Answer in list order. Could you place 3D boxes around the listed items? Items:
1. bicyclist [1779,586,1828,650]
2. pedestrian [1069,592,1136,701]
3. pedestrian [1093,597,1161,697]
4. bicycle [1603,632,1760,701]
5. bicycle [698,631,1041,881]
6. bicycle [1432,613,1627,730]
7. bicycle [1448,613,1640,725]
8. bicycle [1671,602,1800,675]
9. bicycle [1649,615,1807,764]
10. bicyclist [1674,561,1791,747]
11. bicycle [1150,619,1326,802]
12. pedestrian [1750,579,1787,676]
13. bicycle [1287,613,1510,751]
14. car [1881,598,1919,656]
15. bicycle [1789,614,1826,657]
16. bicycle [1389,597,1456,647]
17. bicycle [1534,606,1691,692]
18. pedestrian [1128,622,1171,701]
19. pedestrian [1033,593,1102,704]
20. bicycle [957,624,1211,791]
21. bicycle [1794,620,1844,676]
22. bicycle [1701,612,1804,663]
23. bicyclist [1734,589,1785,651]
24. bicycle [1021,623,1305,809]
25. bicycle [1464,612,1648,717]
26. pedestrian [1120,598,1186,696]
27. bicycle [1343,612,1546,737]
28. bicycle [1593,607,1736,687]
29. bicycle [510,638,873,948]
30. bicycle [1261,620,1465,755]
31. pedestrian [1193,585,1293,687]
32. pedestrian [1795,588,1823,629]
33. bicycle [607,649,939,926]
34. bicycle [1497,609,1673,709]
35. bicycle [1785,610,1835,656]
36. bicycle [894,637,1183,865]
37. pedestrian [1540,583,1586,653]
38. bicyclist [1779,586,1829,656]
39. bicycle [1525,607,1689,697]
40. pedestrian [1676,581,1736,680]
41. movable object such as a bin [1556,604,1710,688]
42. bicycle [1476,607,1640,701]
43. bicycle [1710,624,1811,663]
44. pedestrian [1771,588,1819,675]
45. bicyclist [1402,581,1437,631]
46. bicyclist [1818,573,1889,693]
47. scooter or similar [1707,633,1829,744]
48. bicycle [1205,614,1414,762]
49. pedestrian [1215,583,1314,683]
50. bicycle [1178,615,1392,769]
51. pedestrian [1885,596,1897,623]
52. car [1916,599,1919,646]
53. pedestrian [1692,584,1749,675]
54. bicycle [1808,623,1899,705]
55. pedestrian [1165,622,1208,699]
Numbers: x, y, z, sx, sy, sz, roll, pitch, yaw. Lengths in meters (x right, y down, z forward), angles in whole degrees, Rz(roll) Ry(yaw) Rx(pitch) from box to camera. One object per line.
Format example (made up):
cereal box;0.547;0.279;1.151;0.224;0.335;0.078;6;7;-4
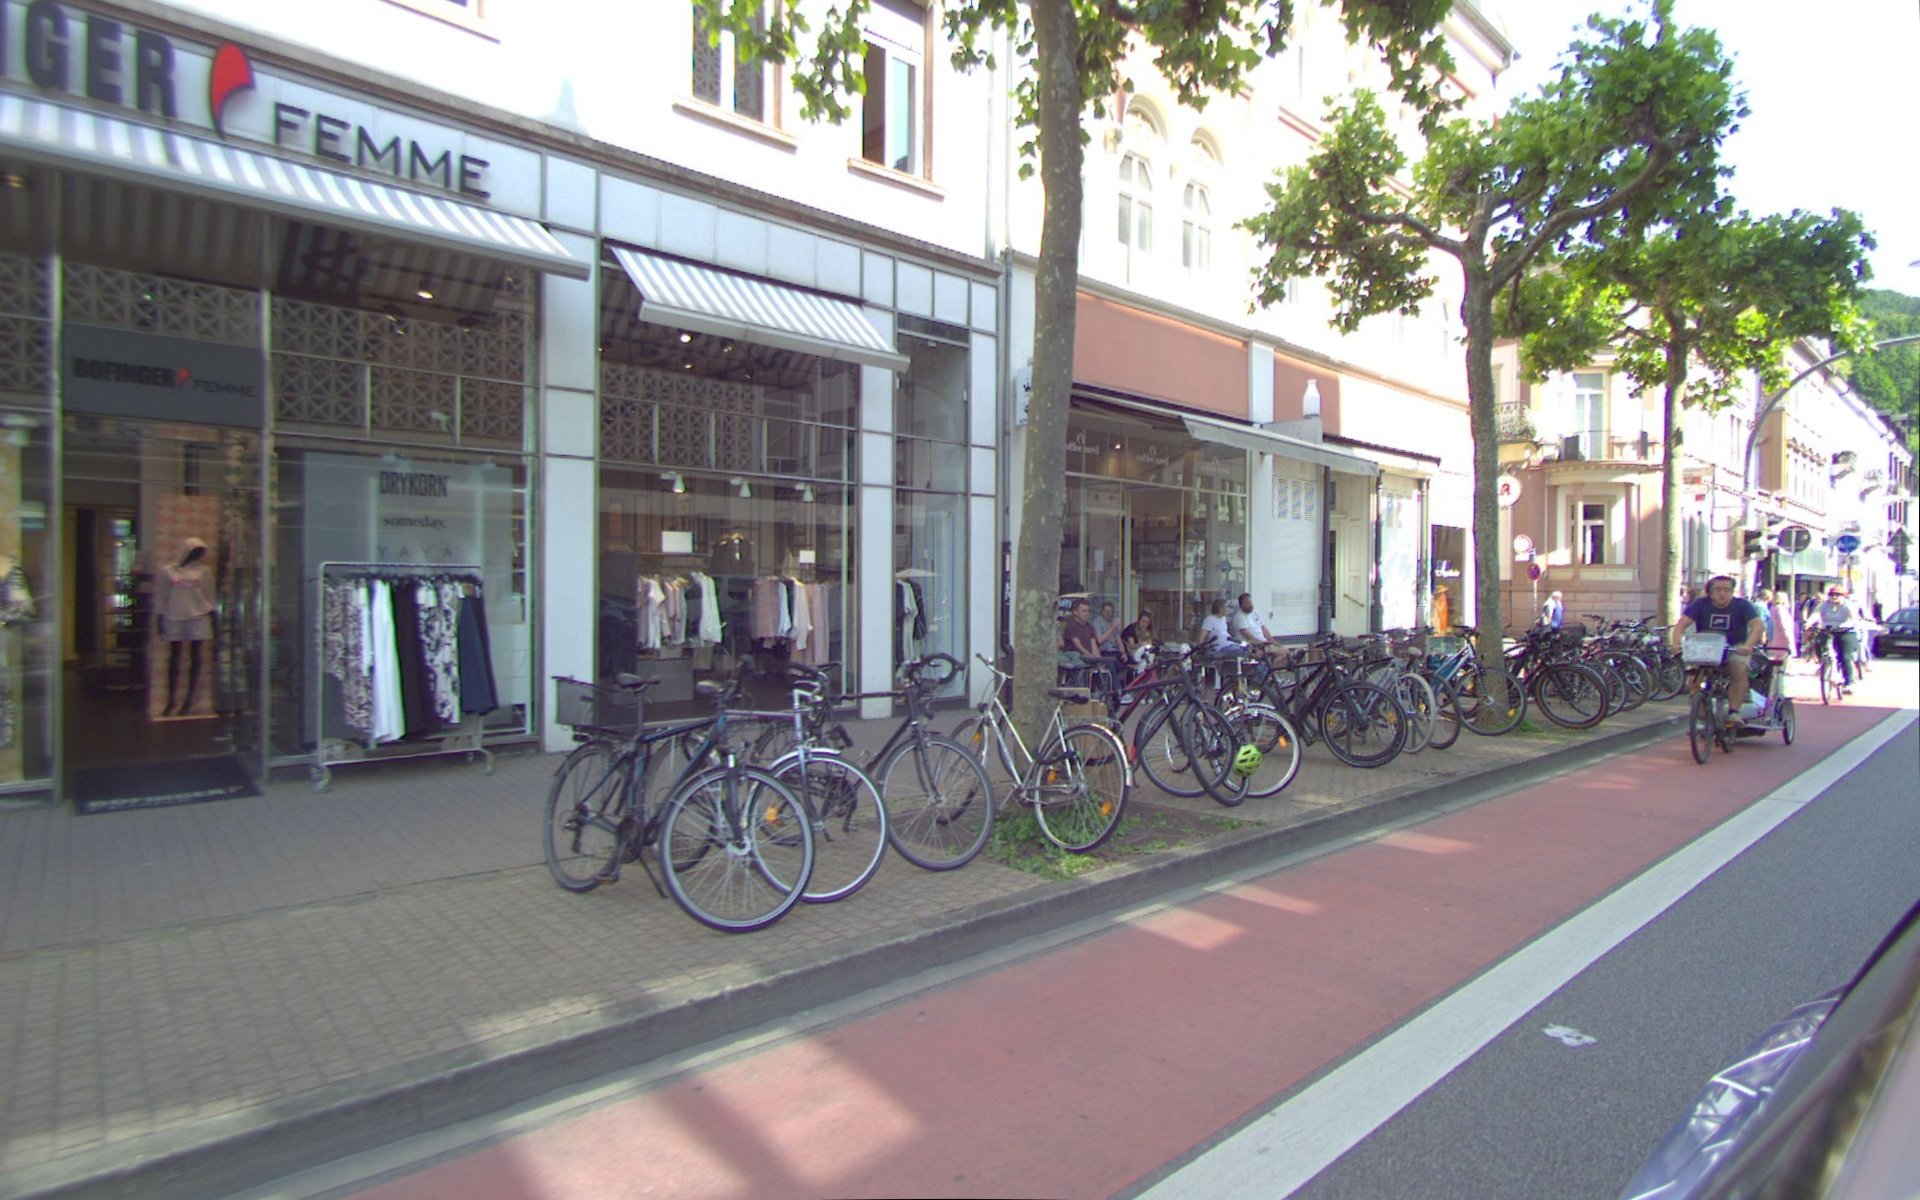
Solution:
bicyclist;23.756;0.497;28.501;0.830;1.738;0.909;0;1;-41
pedestrian;1.840;0.583;13.073;0.523;1.355;0.681;1;0;-44
pedestrian;2.218;0.607;13.453;0.523;1.269;0.682;1;1;-44
bicycle;11.367;1.064;15.988;1.854;0.395;1.018;-12;27;52
bicycle;-0.542;0.774;5.634;1.834;1.141;0.756;-2;0;36
bicycle;6.308;0.749;11.306;0.520;1.141;1.844;-1;2;-39
bicycle;6.771;0.759;11.816;0.655;1.141;1.844;-1;1;-39
bicycle;13.472;0.681;17.660;0.702;1.204;1.857;1;-3;-4
bicycle;7.432;0.797;9.750;2.241;1.285;0.733;1;-2;-40
bicyclist;7.431;0.477;9.736;0.761;1.694;0.732;0;1;-41
bicycle;2.040;0.754;7.690;0.439;1.141;1.850;-1;1;-14
pedestrian;15.431;0.515;19.311;0.598;1.818;0.452;1;-2;-44
bicycle;4.270;0.738;10.030;0.746;1.141;1.995;-1;1;-28
car;27.513;0.726;28.377;3.659;1.497;1.634;-1;1;-33
bicycle;23.894;0.972;28.530;0.746;1.132;1.889;-1;0;41
bicycle;15.369;0.698;33.580;3.188;1.139;0.749;-11;9;-40
bicycle;9.598;0.685;14.947;0.654;1.141;1.846;-1;1;-34
pedestrian;2.424;0.773;12.933;0.429;0.980;0.341;0;0;-40
pedestrian;1.352;0.593;12.740;0.523;1.349;0.681;1;0;-44
bicycle;0.915;0.766;7.524;1.817;1.141;0.447;0;1;12
bicycle;20.612;1.133;24.281;1.828;1.140;0.607;-3;4;-40
bicycle;18.933;0.872;24.214;0.654;1.141;1.845;-1;0;-37
bicyclist;18.981;0.470;24.031;0.492;1.429;0.860;0;1;-40
bicycle;1.366;0.749;6.922;1.818;1.141;0.592;0;1;13
bicycle;7.281;0.744;12.447;0.655;1.141;1.844;-1;1;-39
pedestrian;2.645;0.625;13.858;0.599;1.268;0.640;-1;3;-44
bicycle;5.118;0.738;10.788;0.667;1.141;1.844;-1;2;-39
bicycle;10.740;0.701;15.514;0.338;1.141;1.848;1;-2;-26
bicycle;-1.291;0.764;4.635;1.836;1.141;0.624;-2;-1;39
bicycle;3.740;0.767;9.571;0.519;1.141;1.848;-1;-1;-29
pedestrian;4.262;0.510;15.264;0.777;1.440;1.234;-1;2;-44
pedestrian;38.487;0.358;45.859;0.754;1.813;0.840;0;1;-41
bicycle;-0.992;0.823;5.039;1.836;1.107;0.557;-1;-1;39
bicycle;8.058;0.718;13.121;0.632;1.141;1.844;-1;1;-39
bicycle;21.935;0.847;26.107;1.956;1.132;0.663;1;0;-41
bicycle;0.393;0.798;6.012;0.555;1.107;1.842;0;-1;-41
pedestrian;15.025;0.449;25.225;0.774;1.679;0.642;3;-2;-29
bicyclist;21.702;0.520;26.016;0.830;1.738;0.840;0;1;-41
bicycle;9.092;0.695;14.293;0.655;1.141;1.844;-1;1;-39
pedestrian;14.030;0.568;19.044;0.630;1.818;0.788;1;-2;-44
movable object such as a bin;10.220;0.676;15.452;0.639;1.204;1.859;0;-1;-26
bicycle;8.172;0.699;13.901;0.655;1.141;1.844;-1;1;-39
bicycle;18.972;1.011;24.029;0.492;0.855;1.824;0;0;-40
pedestrian;17.251;0.644;20.905;0.777;1.730;0.639;-2;0;-44
bicyclist;15.164;0.181;33.379;0.830;1.593;0.747;0;1;-41
bicyclist;13.468;0.471;15.251;0.829;1.739;0.684;0;0;-40
scooter or similar;8.632;0.906;10.813;1.105;1.074;0.785;0;-1;-39
bicycle;3.091;0.732;9.119;0.440;1.141;1.844;-1;1;-38
pedestrian;4.787;0.483;15.951;0.823;1.502;1.253;0;0;-44
bicycle;2.768;0.735;8.802;0.440;1.141;1.844;-1;1;-38
pedestrian;59.469;0.591;64.645;0.853;1.689;0.482;0;0;-42
car;31.907;0.672;32.123;4.804;1.443;1.954;0;-1;-43
pedestrian;14.664;0.556;19.515;0.630;1.712;0.788;1;0;-44
bicycle;13.427;0.933;15.186;1.997;1.141;0.736;2;-2;-40
pedestrian;2.976;0.785;13.295;0.429;0.980;0.365;0;0;-40
